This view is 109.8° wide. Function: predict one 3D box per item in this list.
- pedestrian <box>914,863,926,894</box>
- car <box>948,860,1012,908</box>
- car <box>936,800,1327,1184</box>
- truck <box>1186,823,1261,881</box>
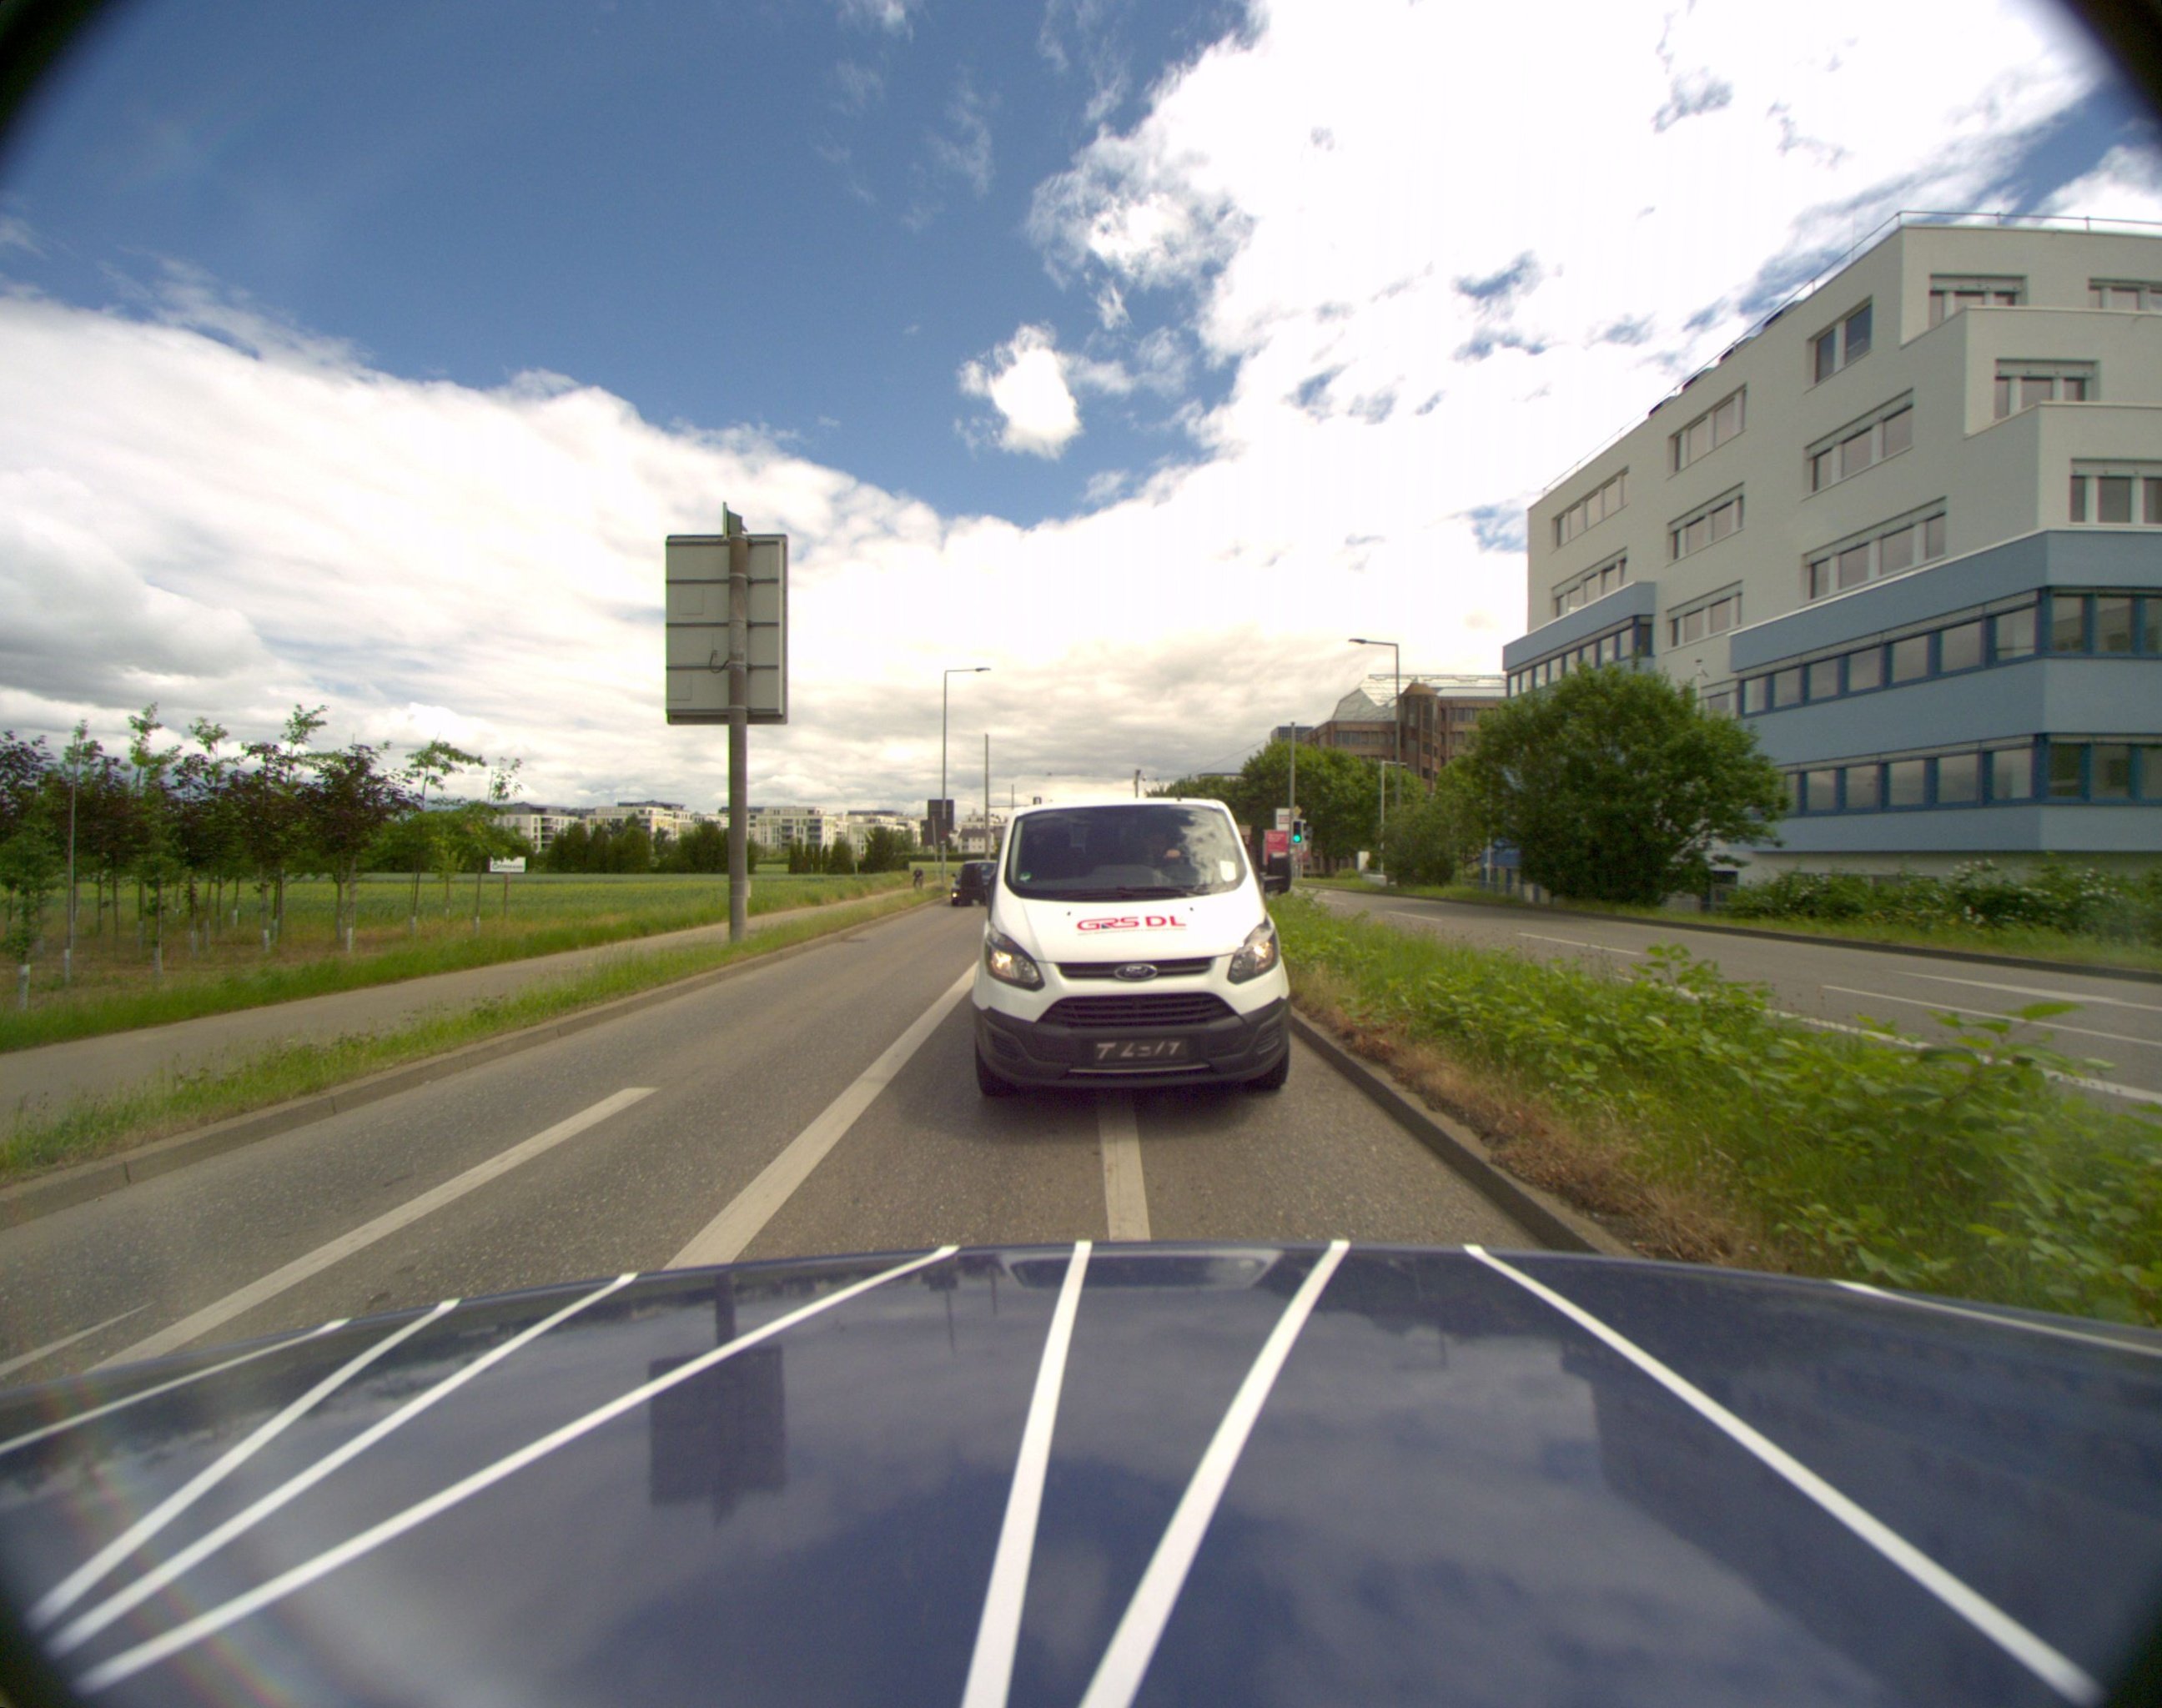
[{"bbox_3d":[-9.020,1.362,42.501,0.492,1.693,0.626,-2,1,-1],"label":"pedestrian"},{"bbox_3d":[-3.298,0.932,25.395,1.683,1.410,3.739,-1,1,-1],"label":"car"},{"bbox_3d":[0.296,0.711,6.451,1.968,1.938,5.055,-2,0,1],"label":"car"},{"bbox_3d":[9.241,-0.192,50.696,3.176,3.497,9.525,0,1,0],"label":"truck"}]
